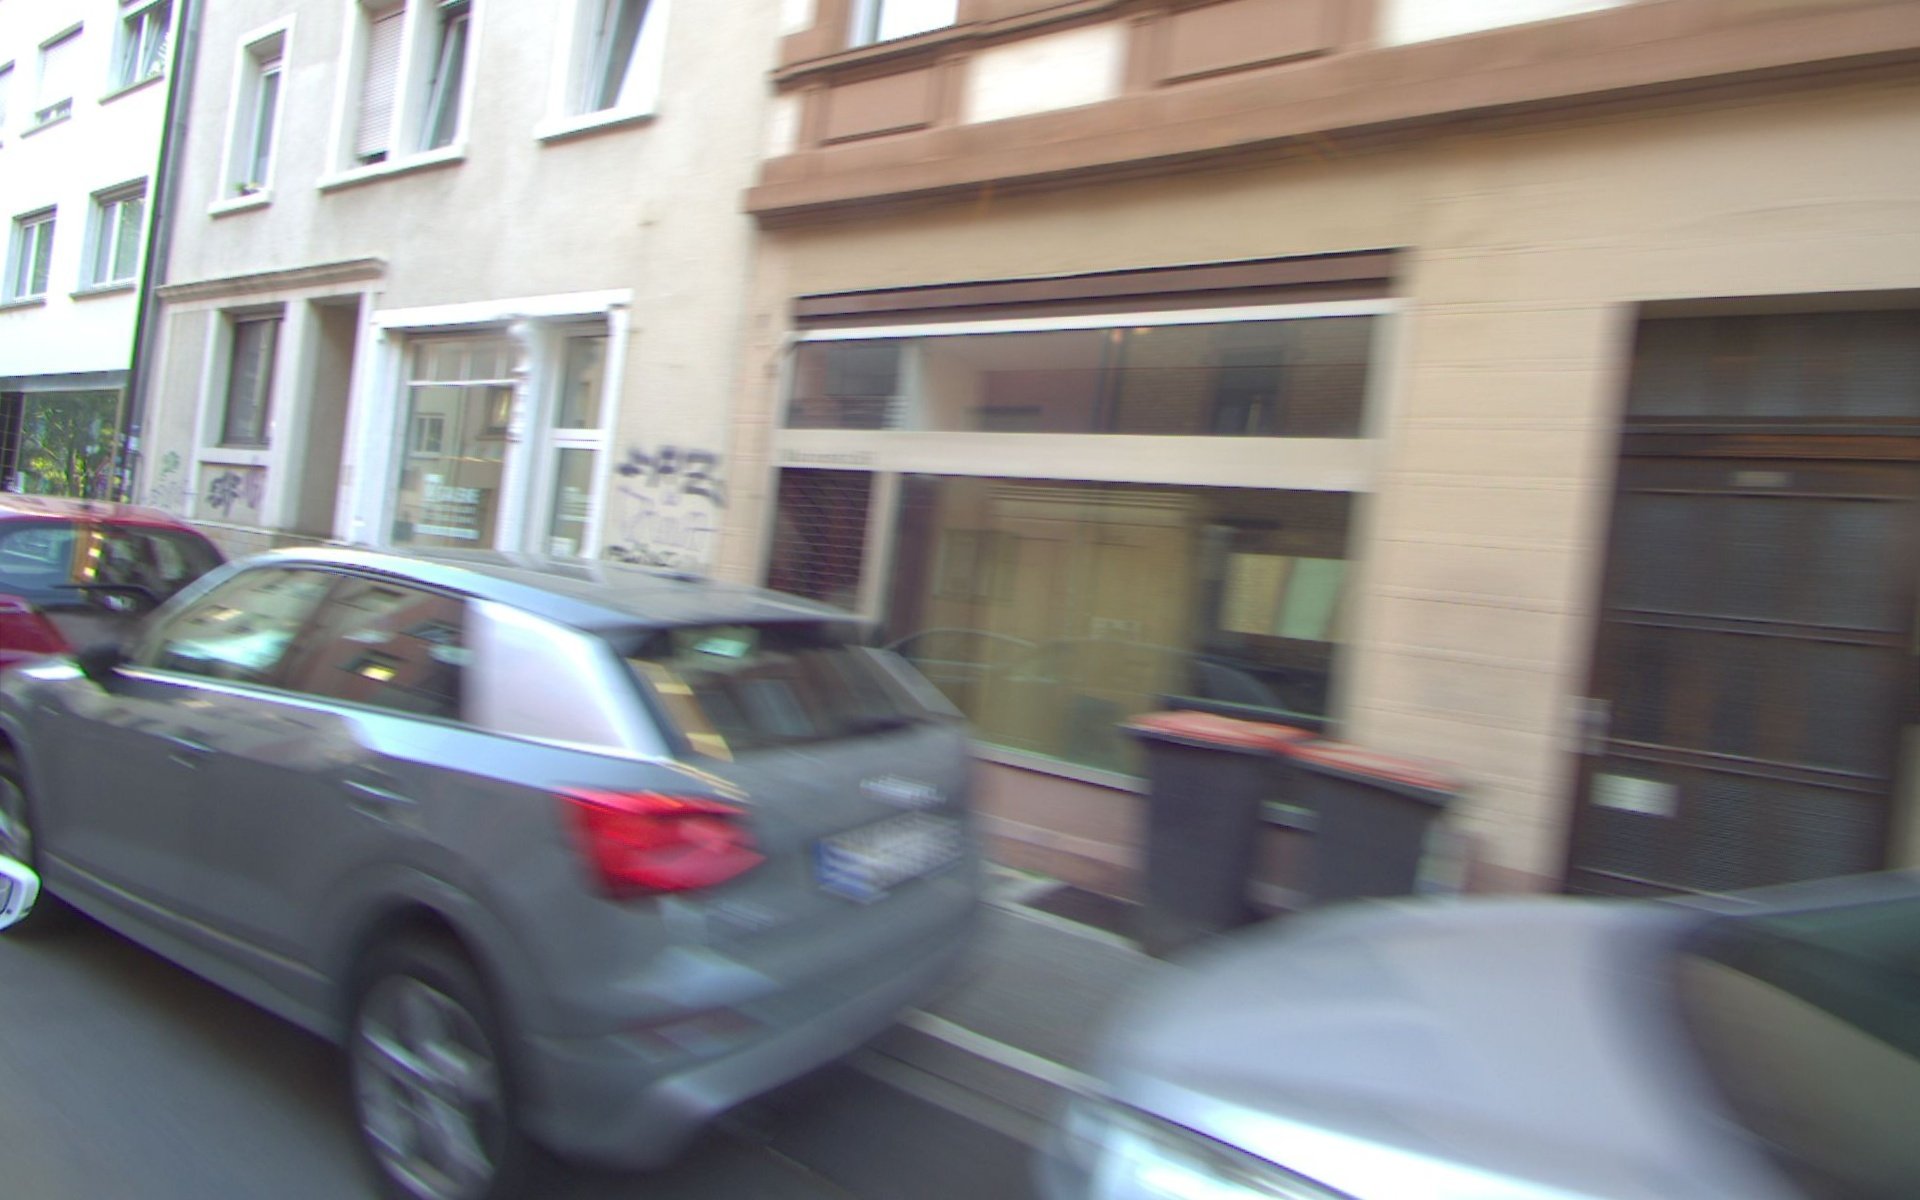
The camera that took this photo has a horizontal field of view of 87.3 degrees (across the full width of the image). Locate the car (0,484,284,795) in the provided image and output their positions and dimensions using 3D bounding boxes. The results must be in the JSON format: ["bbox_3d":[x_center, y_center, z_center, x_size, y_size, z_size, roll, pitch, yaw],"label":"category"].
[{"bbox_3d":[-6.293,0.025,6.461,4.114,1.526,1.599,7,1,31],"label":"car"}]

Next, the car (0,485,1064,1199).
[{"bbox_3d":[-1.862,0.550,3.578,3.953,1.526,1.745,7,1,30],"label":"car"}]

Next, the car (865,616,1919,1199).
[{"bbox_3d":[2.132,1.057,1.205,4.284,1.526,1.745,7,1,30],"label":"car"}]

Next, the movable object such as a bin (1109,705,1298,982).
[{"bbox_3d":[1.103,1.049,4.539,0.584,1.053,0.514,7,2,33],"label":"movable object such as a bin"}]

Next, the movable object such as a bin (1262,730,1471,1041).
[{"bbox_3d":[1.686,1.123,4.161,0.609,1.053,0.514,7,2,33],"label":"movable object such as a bin"}]
